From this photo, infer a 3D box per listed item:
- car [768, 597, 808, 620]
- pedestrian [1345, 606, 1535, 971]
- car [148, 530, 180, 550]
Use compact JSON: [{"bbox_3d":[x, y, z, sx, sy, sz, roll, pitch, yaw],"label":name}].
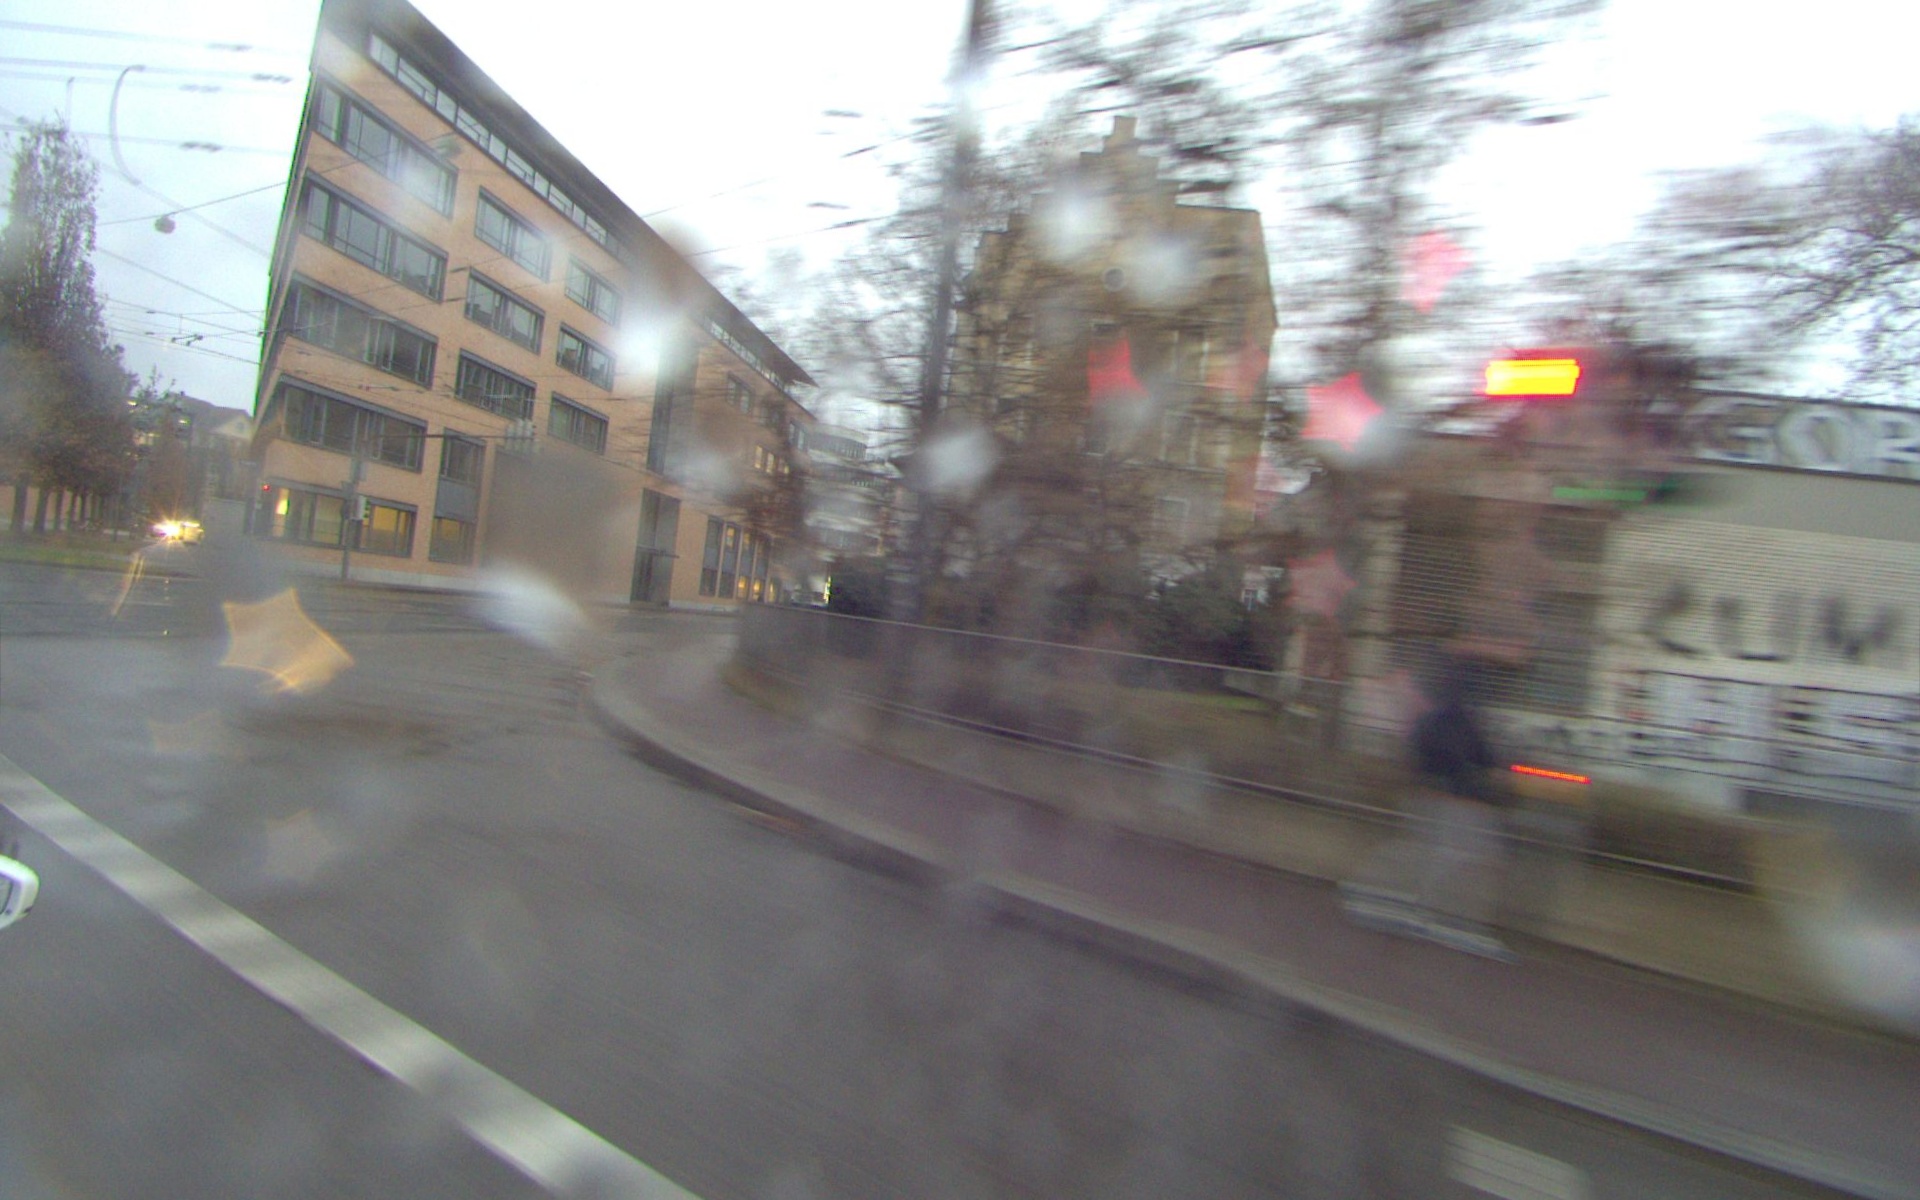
[{"bbox_3d":[-13.923,0.712,81.479,1.962,1.458,3.929,7,-1,8],"label":"car"},{"bbox_3d":[2.710,1.006,5.688,0.672,1.865,0.571,9,7,34],"label":"pedestrian"},{"bbox_3d":[-58.280,-4.408,73.693,1.658,1.195,3.671,8,-1,-37],"label":"car"}]
